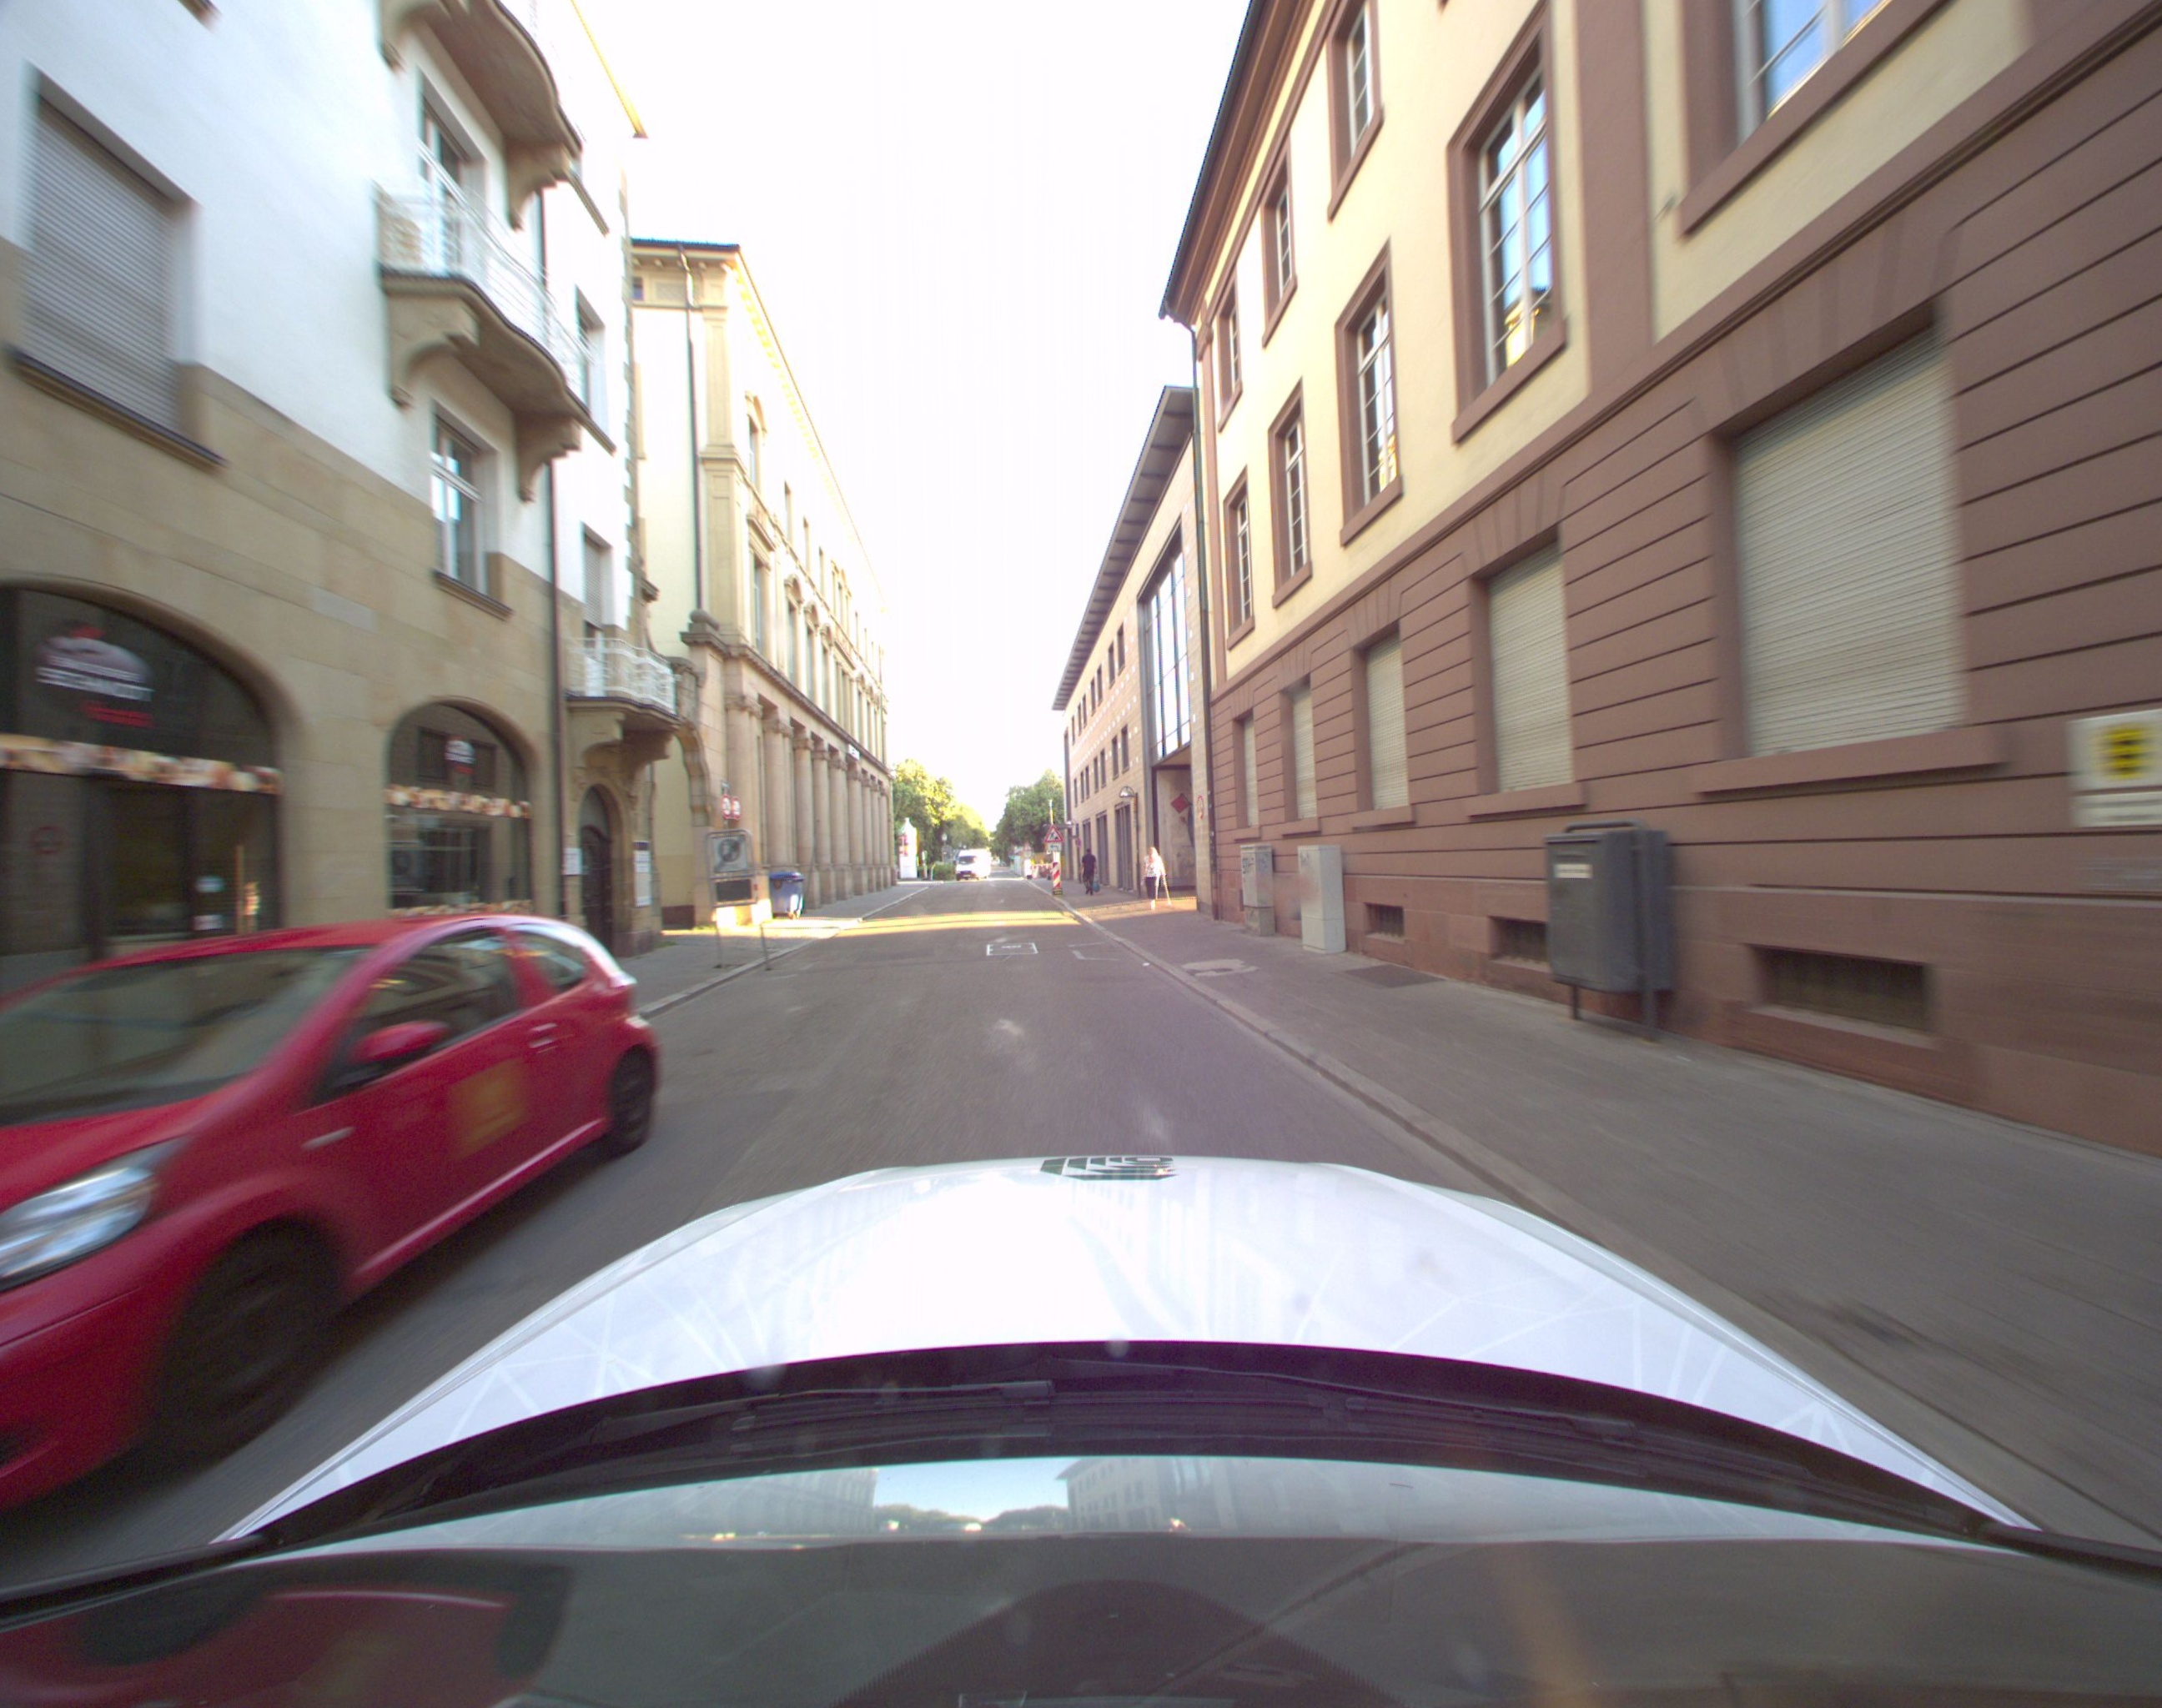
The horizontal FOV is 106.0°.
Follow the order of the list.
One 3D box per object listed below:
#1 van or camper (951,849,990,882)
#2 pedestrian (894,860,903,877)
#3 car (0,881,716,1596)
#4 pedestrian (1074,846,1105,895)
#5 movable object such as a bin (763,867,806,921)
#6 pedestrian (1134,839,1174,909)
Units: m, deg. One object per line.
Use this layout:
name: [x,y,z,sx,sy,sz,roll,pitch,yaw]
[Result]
van or camper: [-9.116,0.928,67.565,2.212,2.585,6.372,-2,0,1]
pedestrian: [-19.511,1.535,86.987,0.852,1.807,0.659,-1,-1,-20]
car: [-3.265,0.972,3.620,1.655,1.469,3.924,-7,-1,-5]
pedestrian: [0.312,0.650,31.385,1.000,1.803,0.879,-3,-1,-7]
movable object such as a bin: [-8.613,1.145,23.686,0.828,1.503,1.288,-2,0,-6]
pedestrian: [1.985,0.547,22.311,0.843,1.803,0.896,-5,-1,-2]
